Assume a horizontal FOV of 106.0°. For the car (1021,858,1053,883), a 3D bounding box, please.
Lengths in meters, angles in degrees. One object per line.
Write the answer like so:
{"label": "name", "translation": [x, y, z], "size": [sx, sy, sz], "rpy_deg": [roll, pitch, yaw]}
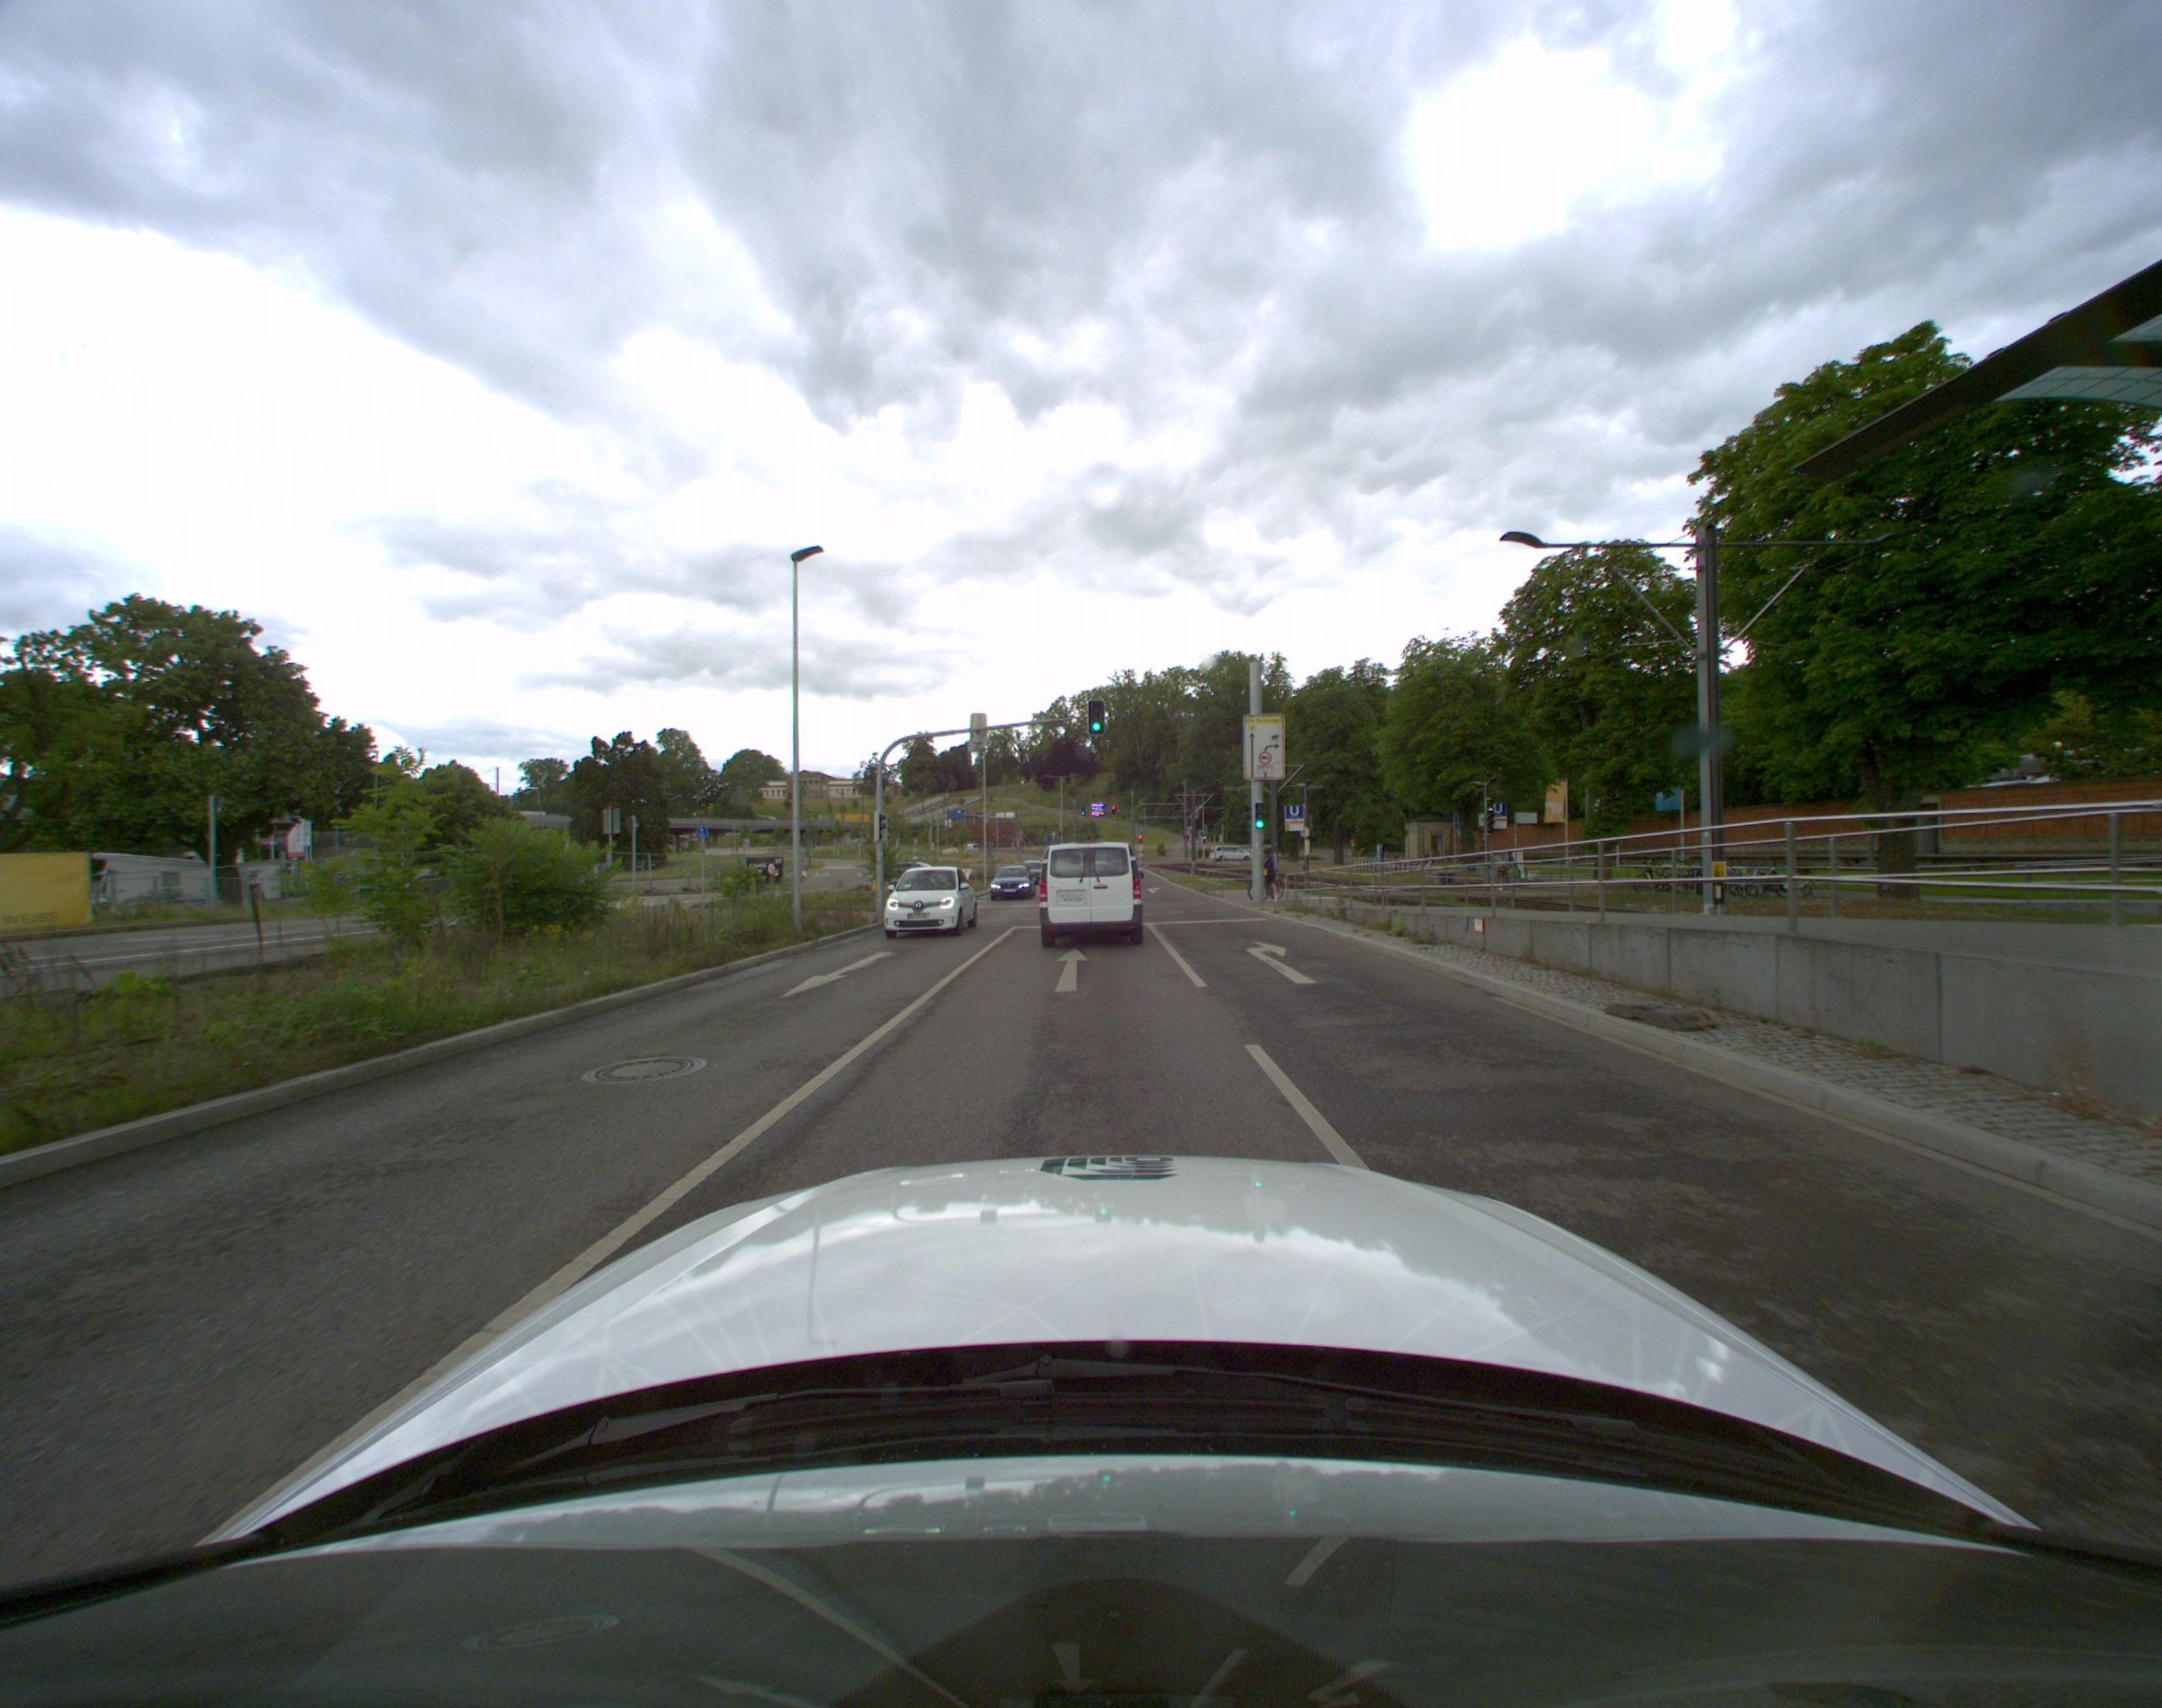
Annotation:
{"label": "car", "translation": [-2.871, 1.097, 53.738], "size": [1.724, 1.529, 4.445], "rpy_deg": [-2, -1, 0]}

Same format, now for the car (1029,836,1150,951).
{"label": "car", "translation": [0.326, 0.680, 16.172], "size": [1.949, 1.904, 4.468], "rpy_deg": [-2, 0, 6]}

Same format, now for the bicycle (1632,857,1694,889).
{"label": "bicycle", "translation": [20.079, 0.652, 28.111], "size": [1.757, 1.034, 0.484], "rpy_deg": [1, -1, 1]}

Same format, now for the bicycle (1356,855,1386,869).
{"label": "bicycle", "translation": [20.486, 0.558, 57.608], "size": [1.905, 0.975, 0.531], "rpy_deg": [-1, 0, 1]}

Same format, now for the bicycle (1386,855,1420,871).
{"label": "bicycle", "translation": [20.574, 0.567, 52.064], "size": [1.905, 0.975, 0.531], "rpy_deg": [-1, 0, 1]}

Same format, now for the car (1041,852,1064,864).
{"label": "car", "translation": [-3.959, 0.533, 112.441], "size": [1.946, 1.627, 3.968], "rpy_deg": [0, 0, -24]}

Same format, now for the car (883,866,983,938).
{"label": "car", "translation": [-3.405, 1.046, 19.427], "size": [1.586, 1.517, 4.084], "rpy_deg": [0, -1, 0]}

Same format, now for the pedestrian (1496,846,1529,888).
{"label": "pedestrian", "translation": [16.963, 0.526, 32.034], "size": [0.835, 1.609, 0.773], "rpy_deg": [-1, -1, -21]}

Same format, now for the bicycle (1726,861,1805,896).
{"label": "bicycle", "translation": [20.140, 0.718, 23.966], "size": [1.866, 0.963, 0.533], "rpy_deg": [1, -1, 1]}

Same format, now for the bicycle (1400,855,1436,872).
{"label": "bicycle", "translation": [20.574, 0.594, 49.735], "size": [1.905, 0.975, 0.531], "rpy_deg": [-1, 0, 1]}

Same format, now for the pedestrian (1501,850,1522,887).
{"label": "pedestrian", "translation": [17.539, 0.580, 33.160], "size": [0.498, 1.502, 0.512], "rpy_deg": [-1, -1, -21]}

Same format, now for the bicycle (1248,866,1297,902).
{"label": "bicycle", "translation": [6.190, 0.943, 26.276], "size": [1.692, 1.074, 0.613], "rpy_deg": [-1, 1, -39]}

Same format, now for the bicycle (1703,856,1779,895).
{"label": "bicycle", "translation": [20.090, 0.646, 24.804], "size": [1.866, 1.139, 0.533], "rpy_deg": [1, -1, 1]}

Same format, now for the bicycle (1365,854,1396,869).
{"label": "bicycle", "translation": [20.541, 0.532, 55.899], "size": [1.905, 0.975, 0.531], "rpy_deg": [-1, 0, 1]}

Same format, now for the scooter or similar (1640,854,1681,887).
{"label": "scooter or similar", "translation": [20.764, 0.596, 29.186], "size": [1.152, 1.139, 0.335], "rpy_deg": [1, -1, 25]}

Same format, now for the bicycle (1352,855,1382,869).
{"label": "bicycle", "translation": [20.550, 0.568, 58.533], "size": [1.905, 0.975, 0.531], "rpy_deg": [-1, 0, 1]}

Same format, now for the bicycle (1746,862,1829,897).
{"label": "bicycle", "translation": [20.145, 0.722, 23.240], "size": [1.866, 0.963, 0.533], "rpy_deg": [1, -1, 1]}

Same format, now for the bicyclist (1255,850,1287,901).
{"label": "bicyclist", "translation": [6.116, 0.680, 26.212], "size": [0.810, 1.572, 0.611], "rpy_deg": [-1, 1, -39]}

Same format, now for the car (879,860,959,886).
{"label": "car", "translation": [-10.576, 1.238, 53.269], "size": [4.679, 1.477, 2.006], "rpy_deg": [-1, 1, 11]}

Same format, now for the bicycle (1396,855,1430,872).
{"label": "bicycle", "translation": [20.538, 0.599, 50.383], "size": [1.905, 0.975, 0.531], "rpy_deg": [-1, 0, 1]}

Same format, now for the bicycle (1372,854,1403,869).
{"label": "bicycle", "translation": [20.715, 0.519, 55.083], "size": [1.905, 0.975, 0.531], "rpy_deg": [-1, 0, 1]}

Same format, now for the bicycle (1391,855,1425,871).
{"label": "bicycle", "translation": [20.591, 0.557, 51.323], "size": [1.905, 0.975, 0.531], "rpy_deg": [-1, 0, 1]}

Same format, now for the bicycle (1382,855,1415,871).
{"label": "bicycle", "translation": [20.577, 0.563, 52.846], "size": [1.905, 0.975, 0.531], "rpy_deg": [-1, 0, 1]}

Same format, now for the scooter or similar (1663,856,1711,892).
{"label": "scooter or similar", "translation": [20.152, 0.668, 27.108], "size": [1.267, 1.139, 0.334], "rpy_deg": [1, -1, 8]}

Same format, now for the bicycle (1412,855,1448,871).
{"label": "bicycle", "translation": [20.805, 0.550, 48.620], "size": [1.905, 0.895, 0.531], "rpy_deg": [-1, 0, 1]}

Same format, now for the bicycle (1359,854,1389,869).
{"label": "bicycle", "translation": [20.387, 0.546, 56.628], "size": [1.905, 0.975, 0.531], "rpy_deg": [-1, 0, 1]}

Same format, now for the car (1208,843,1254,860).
{"label": "car", "translation": [18.304, -0.328, 99.238], "size": [5.131, 2.014, 2.202], "rpy_deg": [0, -1, -8]}

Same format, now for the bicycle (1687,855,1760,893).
{"label": "bicycle", "translation": [20.337, 0.617, 25.798], "size": [1.866, 1.139, 0.533], "rpy_deg": [1, -1, 1]}

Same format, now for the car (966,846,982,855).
{"label": "car", "translation": [-19.570, -0.639, 149.106], "size": [1.946, 1.627, 3.968], "rpy_deg": [0, 0, -24]}

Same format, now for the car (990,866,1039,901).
{"label": "car", "translation": [-2.938, 1.275, 36.646], "size": [1.724, 1.421, 4.445], "rpy_deg": [-2, -1, 0]}
